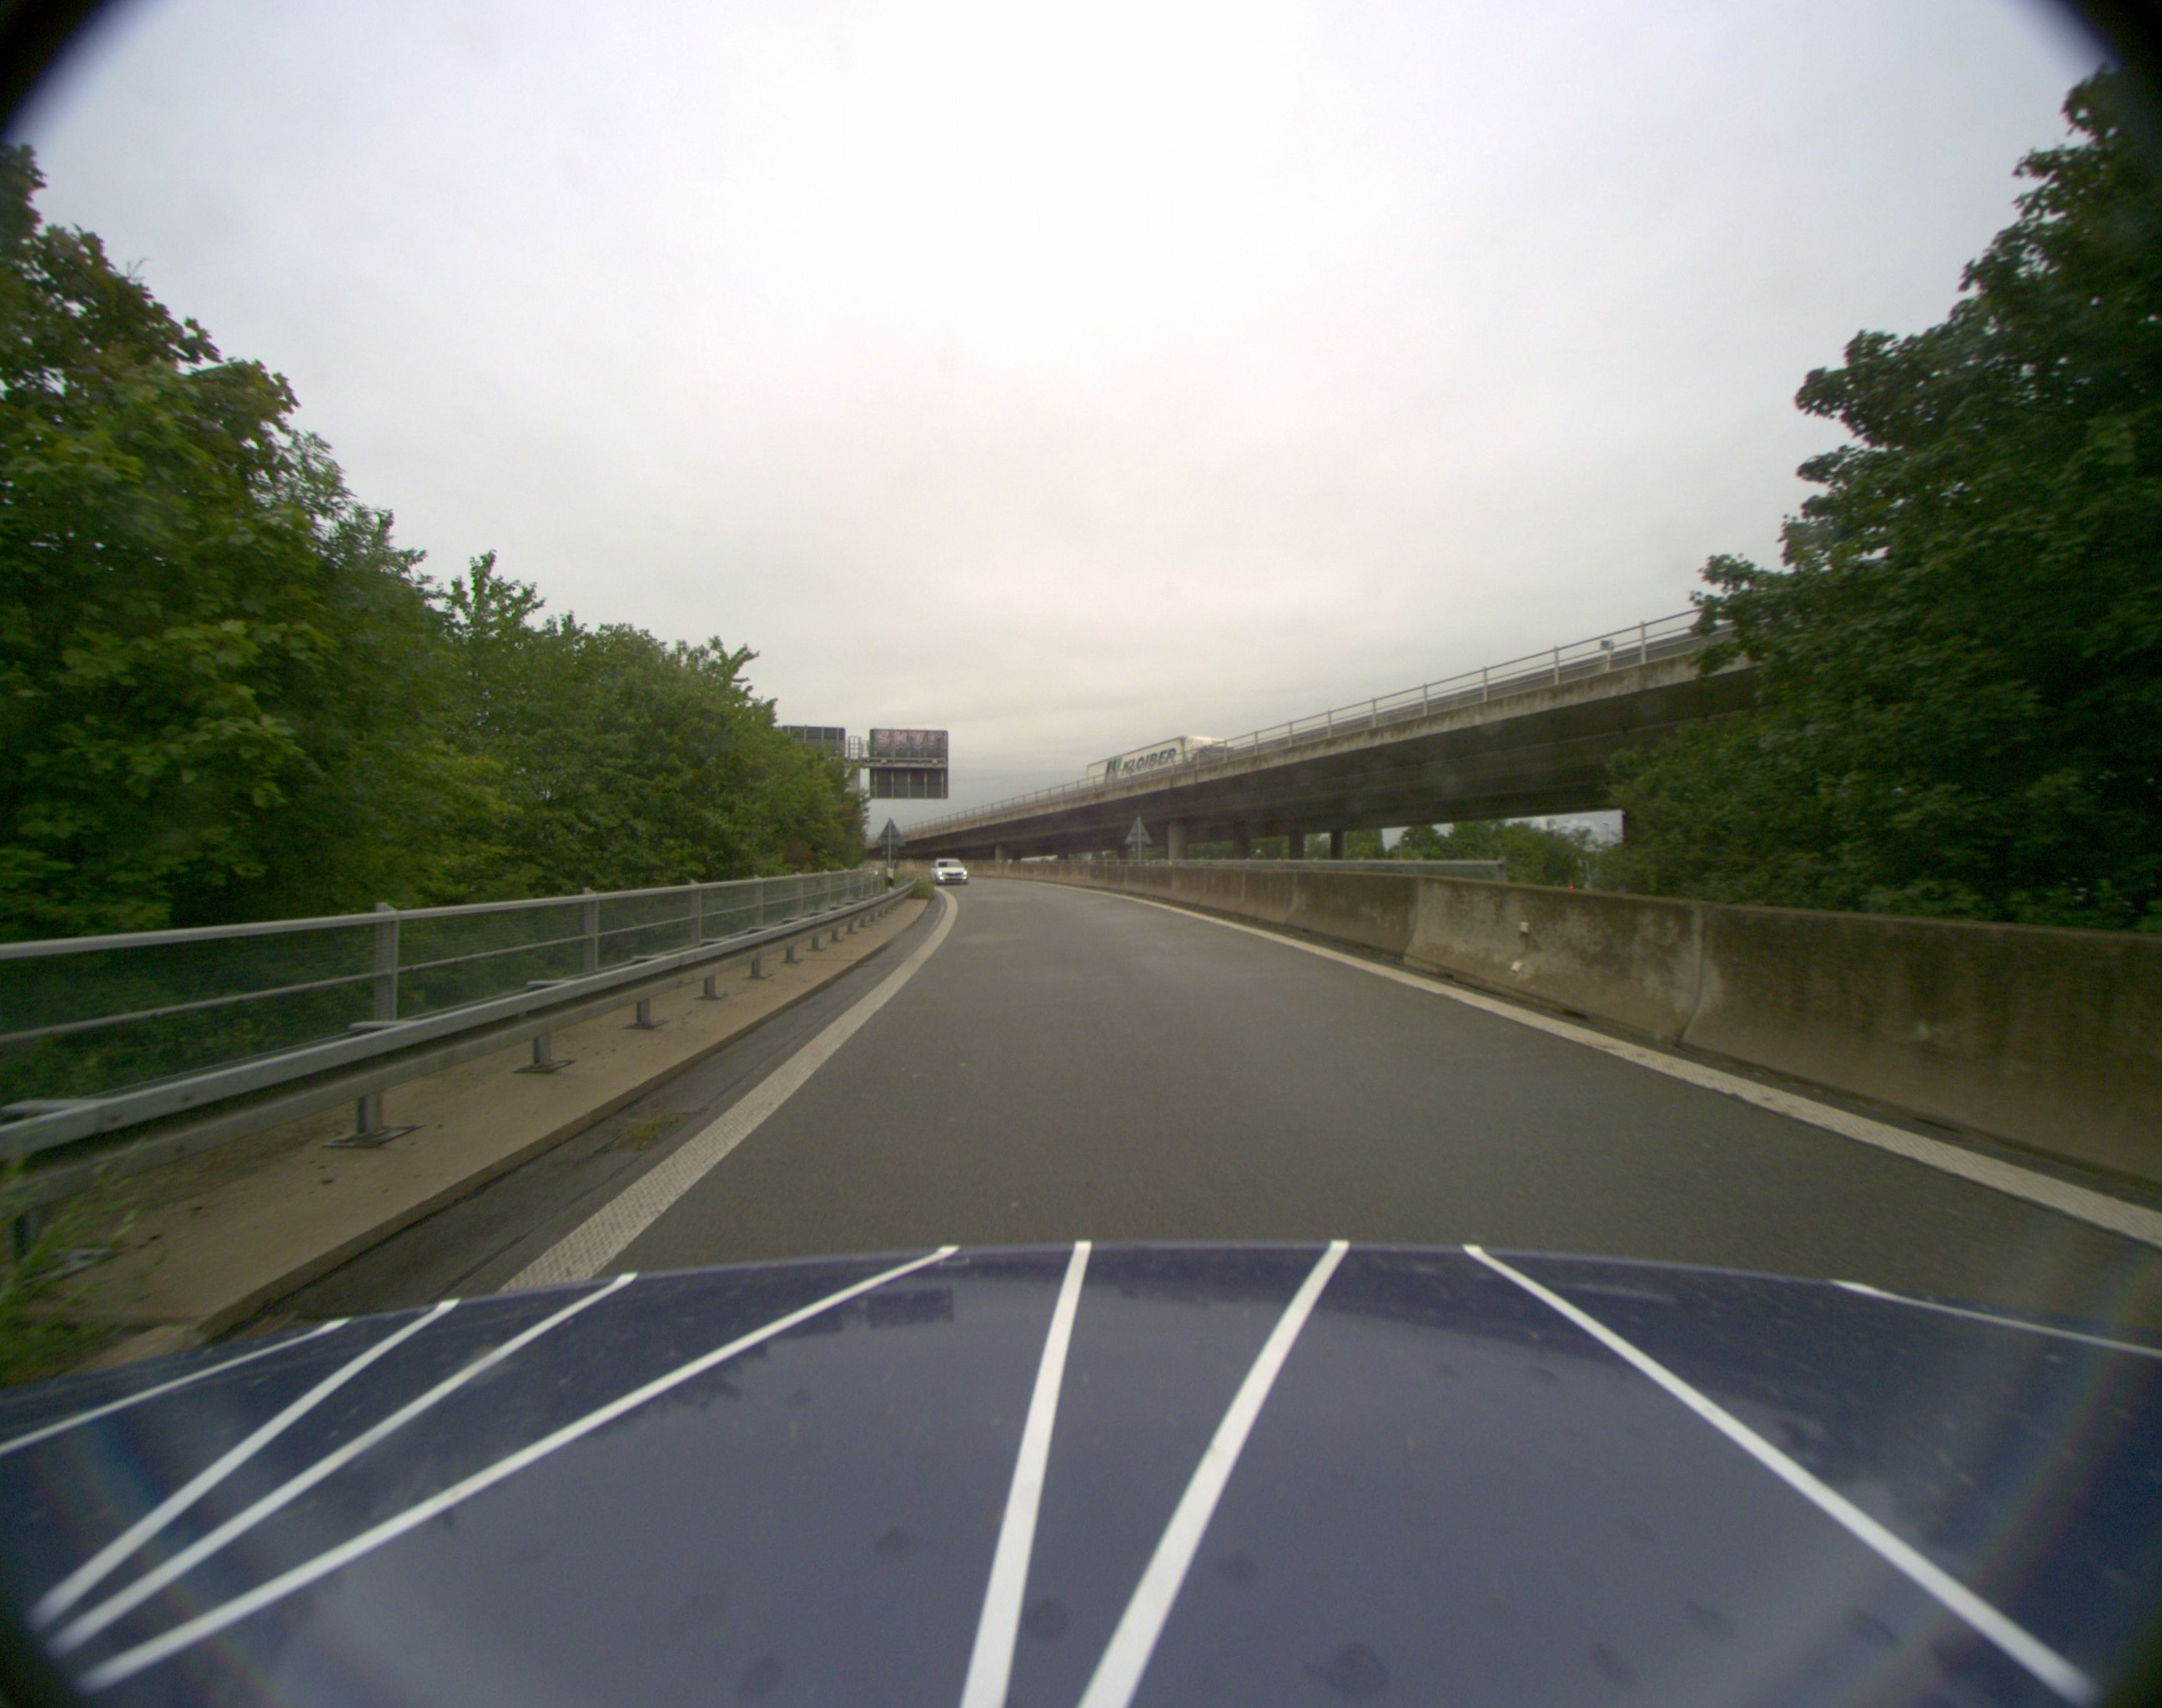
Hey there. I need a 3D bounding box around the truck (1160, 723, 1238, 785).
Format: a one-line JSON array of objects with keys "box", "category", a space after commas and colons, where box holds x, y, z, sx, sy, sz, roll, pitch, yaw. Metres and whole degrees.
[{"box": [7.849, -6.609, 51.155, 2.600, 3.226, 5.185, -1, -2, -25], "category": "truck"}]

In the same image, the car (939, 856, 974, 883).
[{"box": [-7.291, 0.862, 44.235, 1.916, 1.439, 4.552, -1, 0, -11], "category": "car"}]

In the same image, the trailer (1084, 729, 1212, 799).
[{"box": [4.635, -6.525, 57.620, 2.670, 3.278, 14.033, -1, -1, -26], "category": "trailer"}]
